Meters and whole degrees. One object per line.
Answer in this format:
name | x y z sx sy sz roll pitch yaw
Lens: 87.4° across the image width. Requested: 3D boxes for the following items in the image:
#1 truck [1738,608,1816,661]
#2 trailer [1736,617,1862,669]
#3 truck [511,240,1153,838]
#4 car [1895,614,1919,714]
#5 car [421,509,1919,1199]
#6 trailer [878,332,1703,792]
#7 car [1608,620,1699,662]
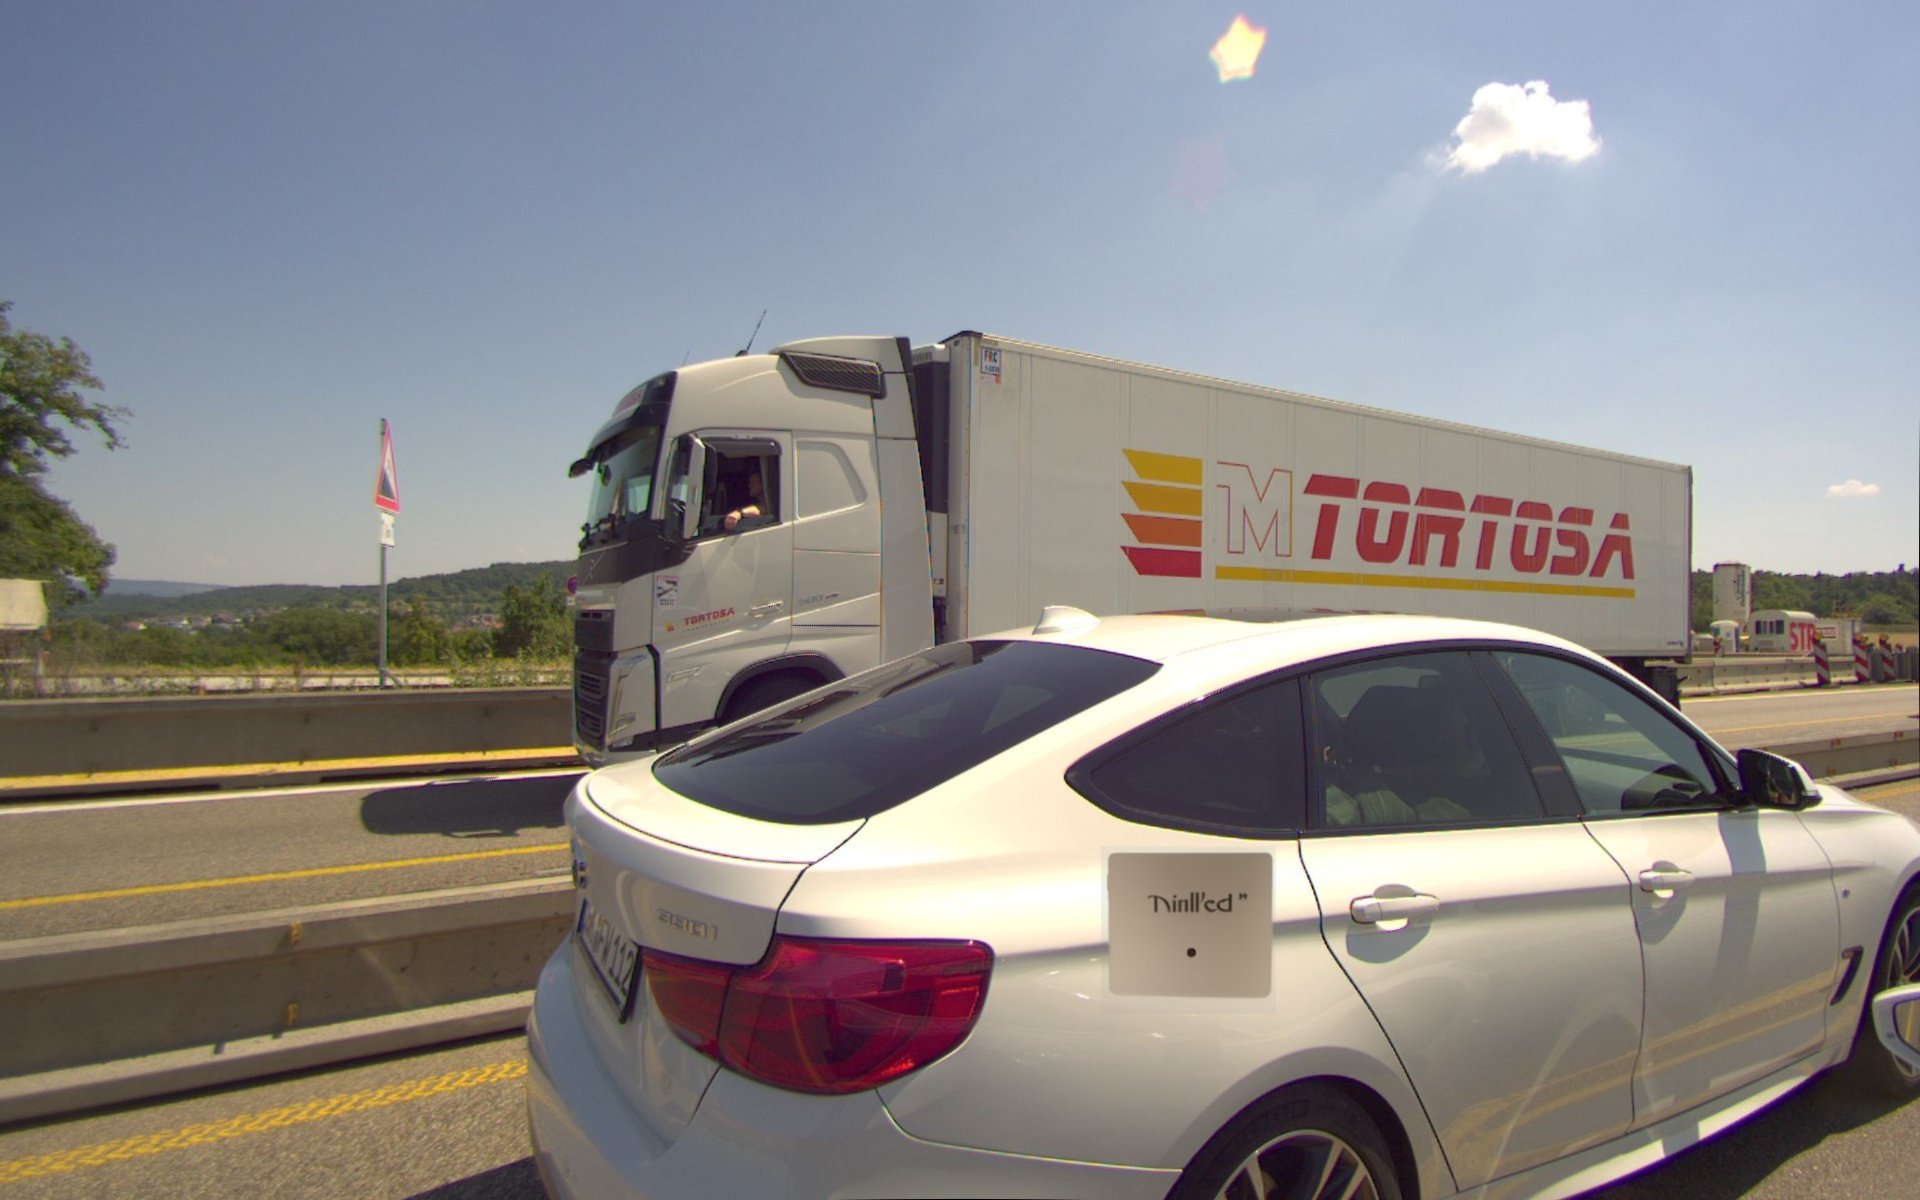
truck | 49.974 2.110 61.416 4.215 3.084 2.329 2 0 -30
trailer | 53.824 2.676 64.550 2.849 3.037 5.537 1 0 -30
truck | -1.176 -0.377 9.647 5.396 4.187 2.816 2 0 -31
car | 19.250 1.191 18.291 4.439 1.762 1.985 2 0 -29
car | 1.227 0.739 3.100 5.015 1.555 1.786 2 0 -31
trailer | 5.348 -0.271 13.625 12.971 4.149 2.801 1 0 -31
car | 36.735 2.152 53.161 5.056 2.043 2.192 2 0 -33
